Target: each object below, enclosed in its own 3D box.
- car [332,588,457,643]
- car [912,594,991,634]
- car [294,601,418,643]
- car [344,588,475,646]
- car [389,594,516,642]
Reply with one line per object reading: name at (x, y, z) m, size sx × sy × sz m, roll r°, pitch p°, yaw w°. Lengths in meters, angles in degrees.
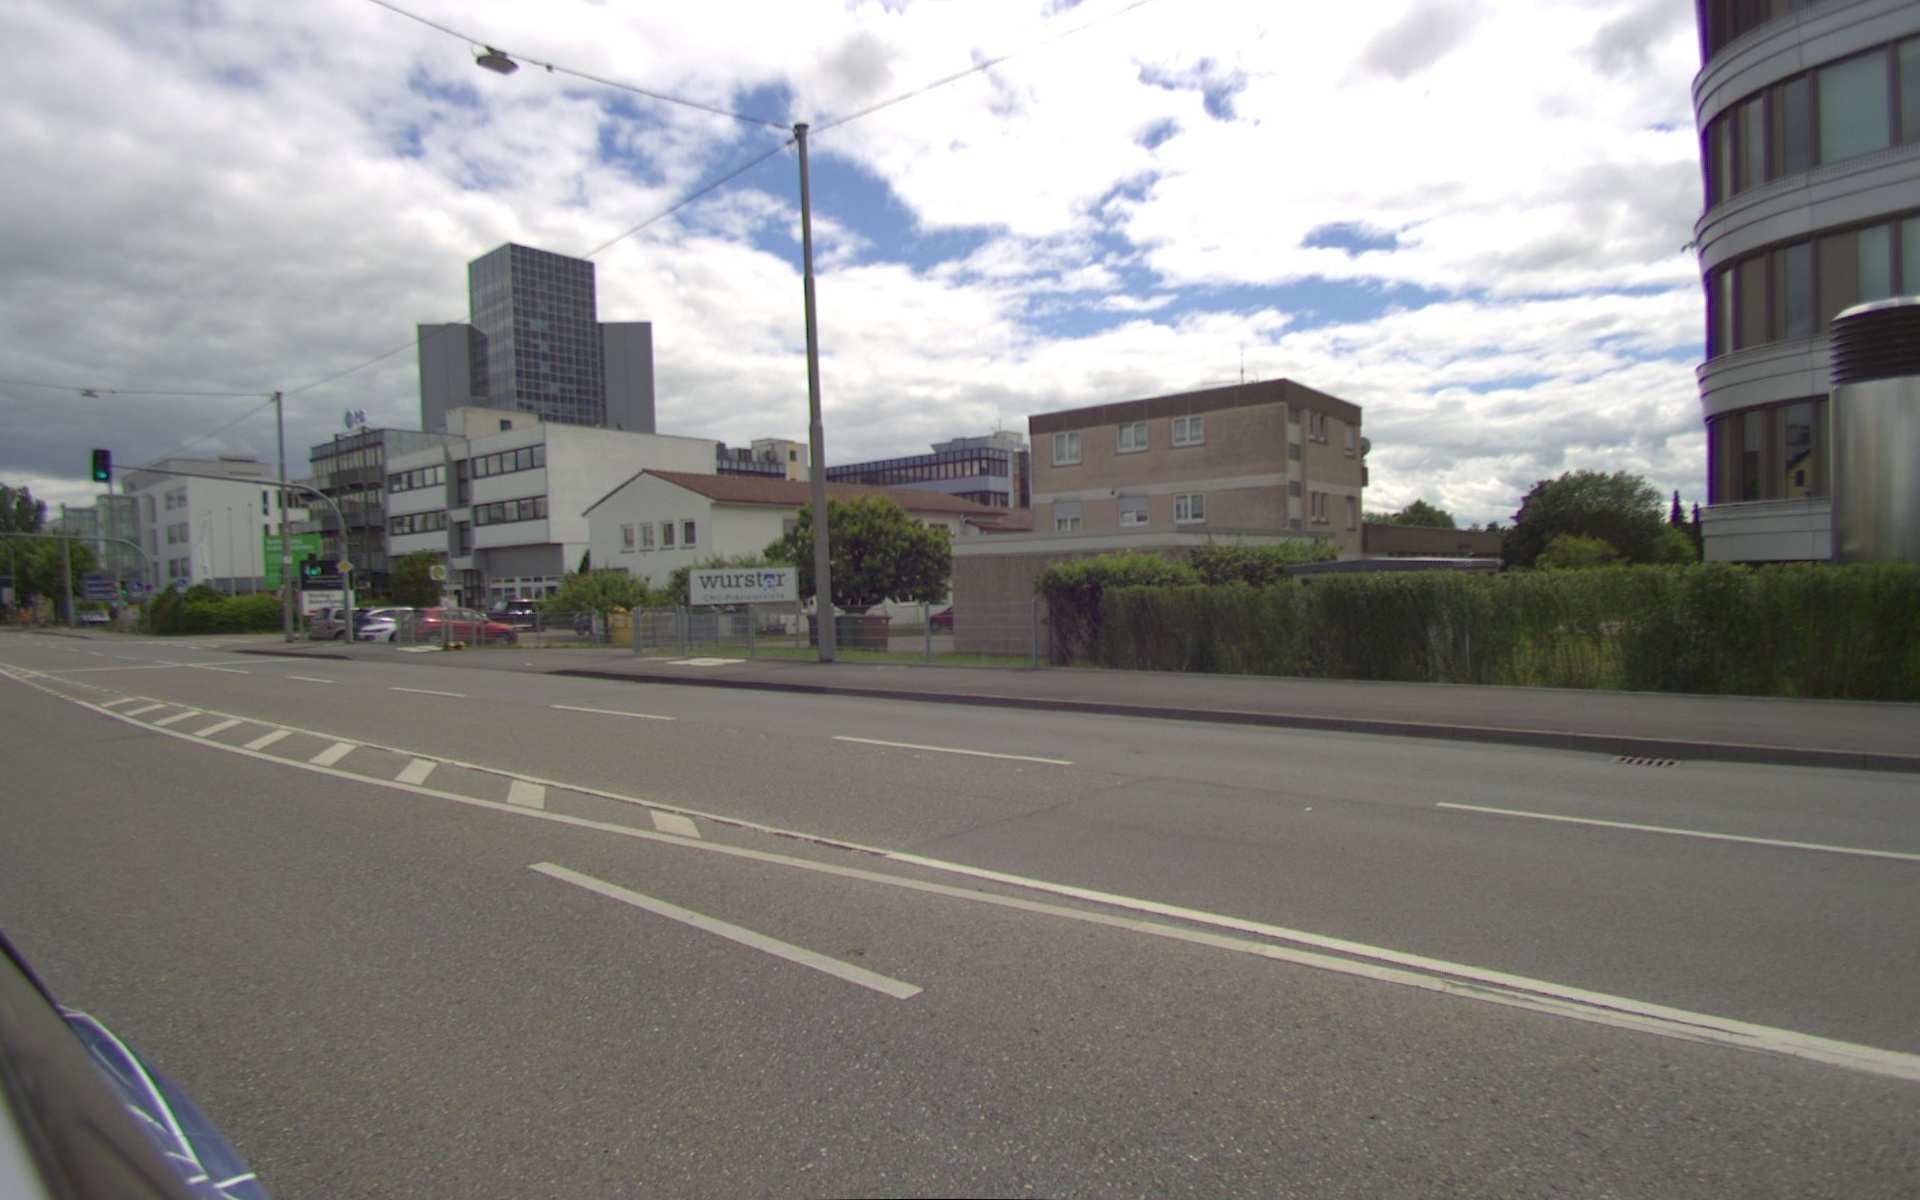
car at (-22.610, 0.581, 40.581) m, size 1.902 × 2.029 × 3.948 m, roll 0°, pitch 1°, yaw 39°
car at (-0.469, 0.754, 54.397) m, size 3.986 × 2.029 × 1.624 m, roll -1°, pitch 1°, yaw 32°
car at (-24.881, 0.890, 41.809) m, size 1.821 × 1.342 × 3.950 m, roll -2°, pitch 3°, yaw 38°
car at (-21.007, 0.592, 38.734) m, size 1.918 × 2.029 × 3.949 m, roll 0°, pitch 1°, yaw 38°
car at (-18.631, 0.640, 37.268) m, size 1.832 × 1.623 × 3.758 m, roll -2°, pitch 0°, yaw 36°
